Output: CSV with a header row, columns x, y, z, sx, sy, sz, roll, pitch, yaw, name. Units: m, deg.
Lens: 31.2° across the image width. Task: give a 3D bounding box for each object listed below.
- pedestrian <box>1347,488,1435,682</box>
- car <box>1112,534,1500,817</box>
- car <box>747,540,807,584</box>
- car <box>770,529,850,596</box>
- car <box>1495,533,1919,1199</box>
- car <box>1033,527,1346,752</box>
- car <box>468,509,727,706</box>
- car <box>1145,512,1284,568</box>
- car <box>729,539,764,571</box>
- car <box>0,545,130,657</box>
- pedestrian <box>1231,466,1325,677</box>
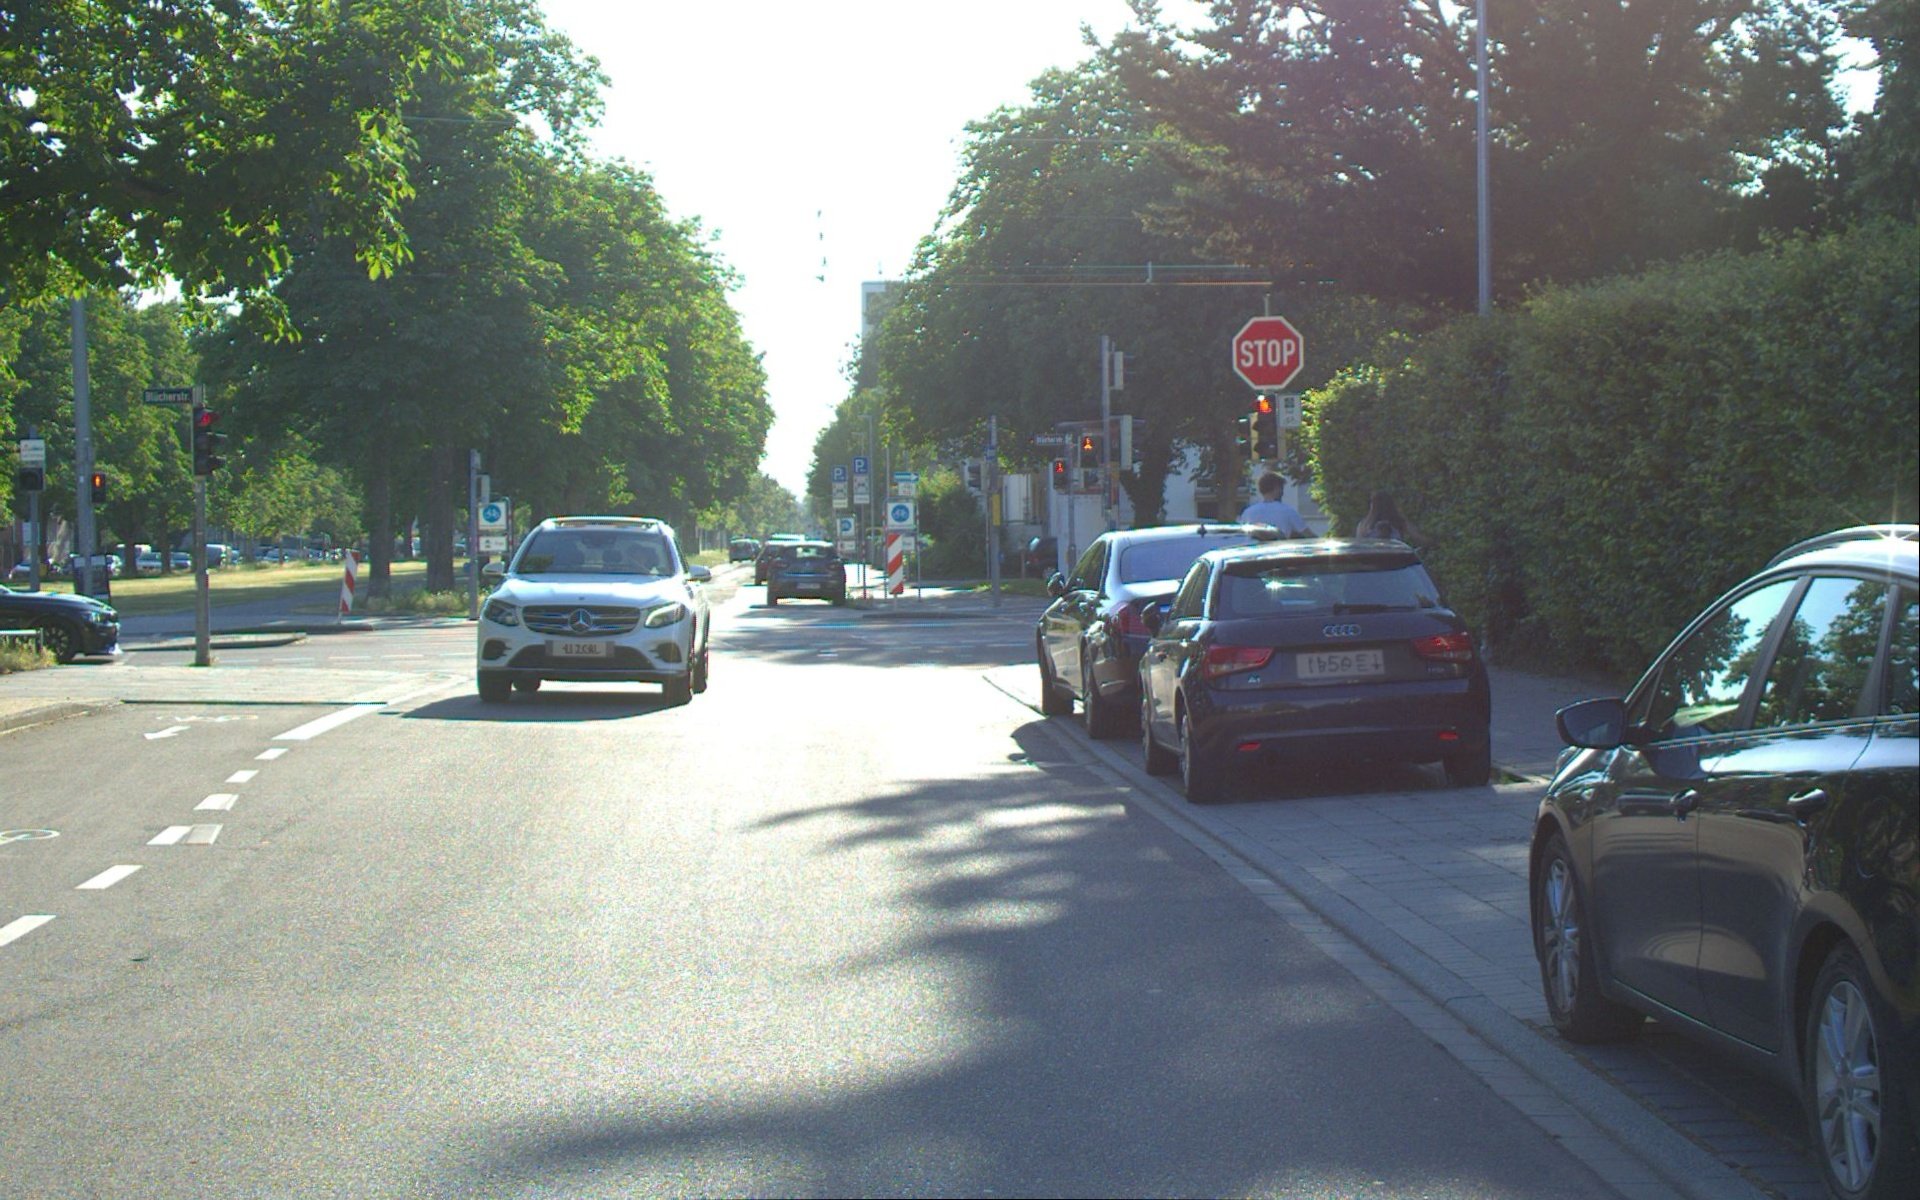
x,y,z,sx,sy,sz,roll,pitch,yaw,name
3.836,-0.138,30.628,0.669,1.702,0.623,0,1,-5,pedestrian
1.924,0.362,20.172,1.641,1.423,3.937,-2,1,-3,car
-5.864,-1.237,110.741,1.845,1.389,3.829,0,1,-2,car
-3.336,-0.848,76.813,1.641,1.446,3.307,0,1,0,car
2.633,0.580,8.431,1.746,1.469,4.256,0,1,-3,car
1.646,0.229,26.293,1.859,1.537,4.874,-1,1,-2,car
-3.244,0.013,31.556,1.891,1.671,4.425,0,1,0,car
7.258,-1.714,98.329,3.779,1.520,1.744,0,3,-2,car
-13.851,-2.936,223.543,2.134,2.007,3.902,0,1,-2,car
-13.241,0.007,44.663,4.763,1.429,1.815,-1,1,-13,car
2.835,-0.259,30.710,0.670,1.859,0.882,0,1,-6,pedestrian
